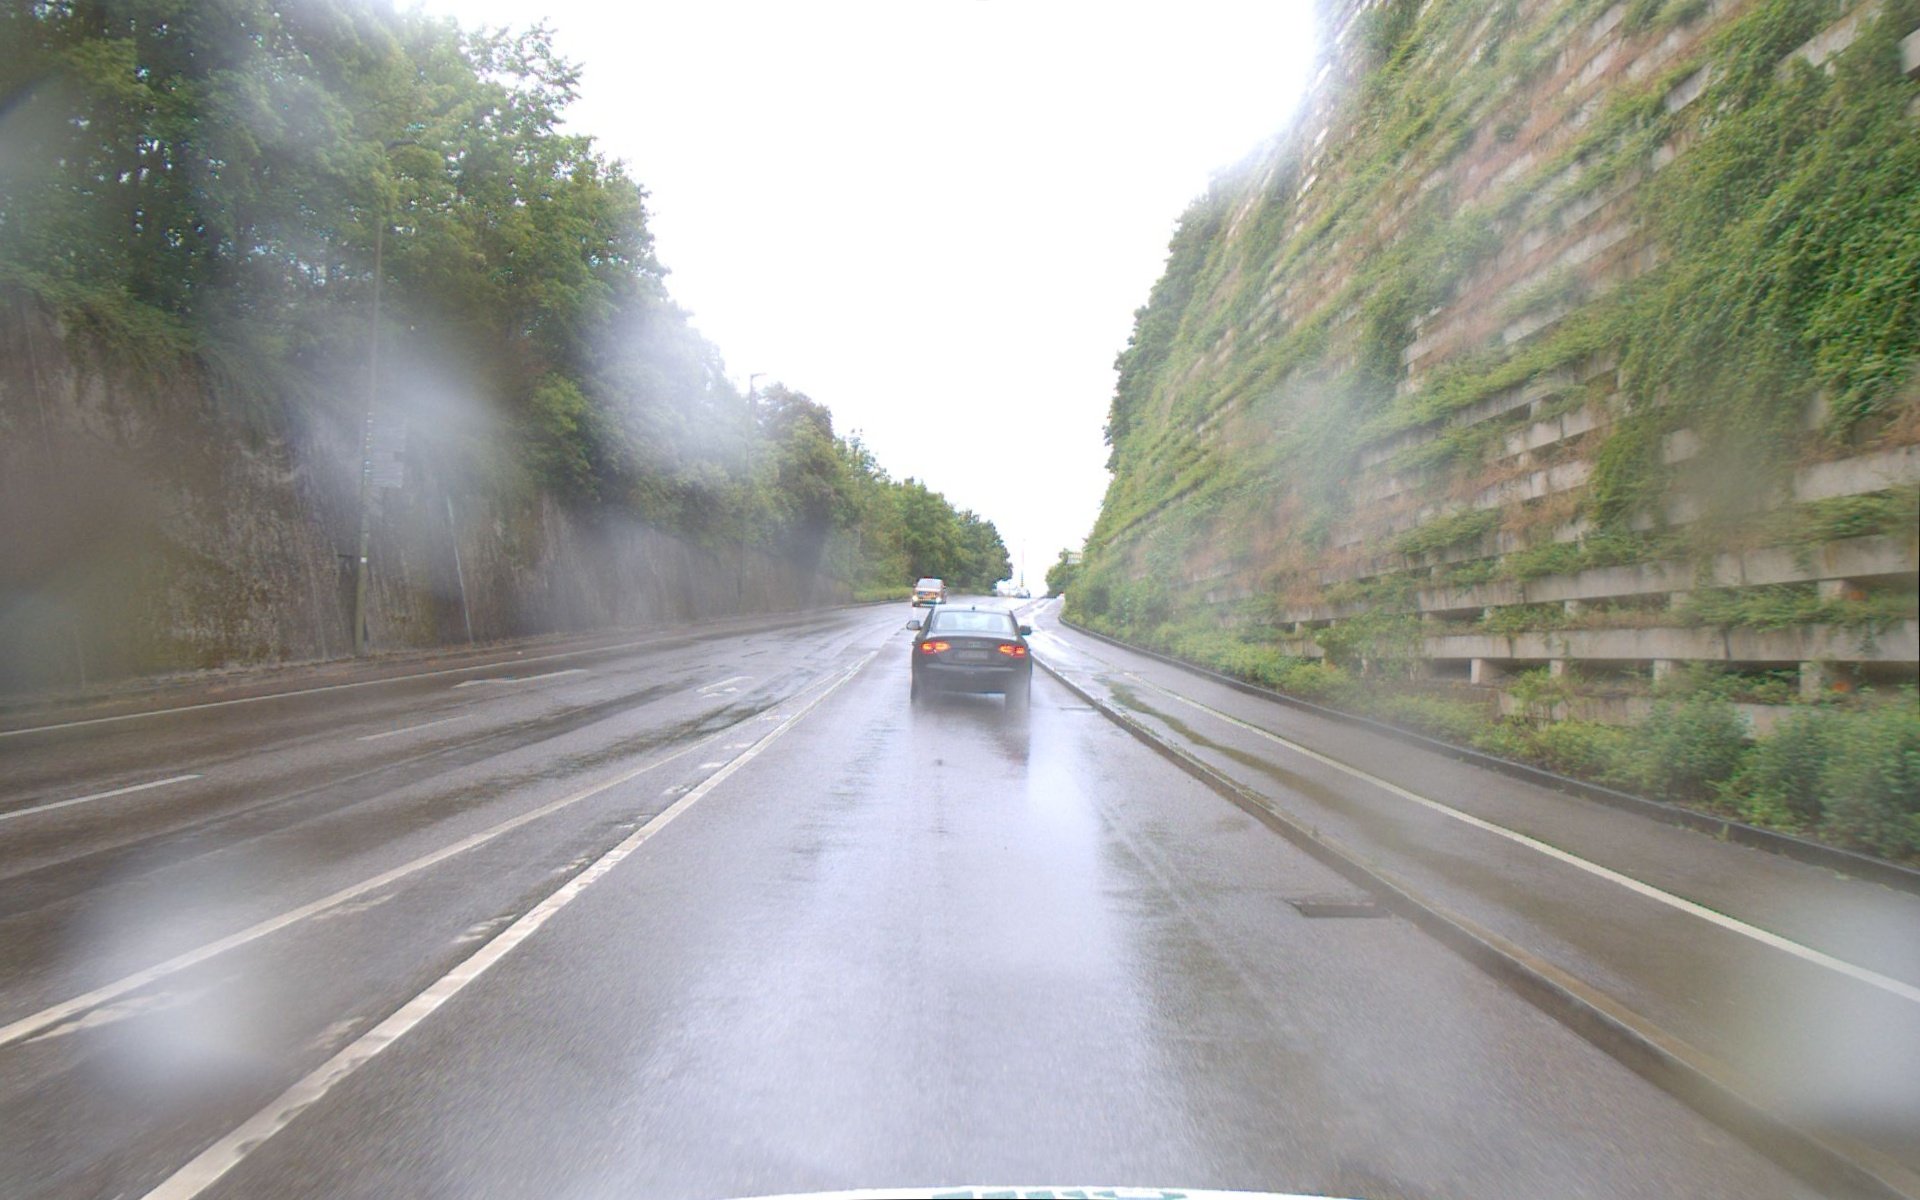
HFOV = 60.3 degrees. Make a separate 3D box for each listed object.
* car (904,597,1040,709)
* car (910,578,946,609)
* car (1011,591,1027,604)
[{"bbox_3d":[0.224,0.750,24.893,1.853,1.518,4.208,-1,-1,2],"label":"car"},{"bbox_3d":[-1.777,-0.346,93.947,1.696,1.646,4.002,2,0,3],"label":"car"},{"bbox_3d":[6.824,-0.308,191.071,1.826,1.474,4.379,1,0,2],"label":"car"}]
